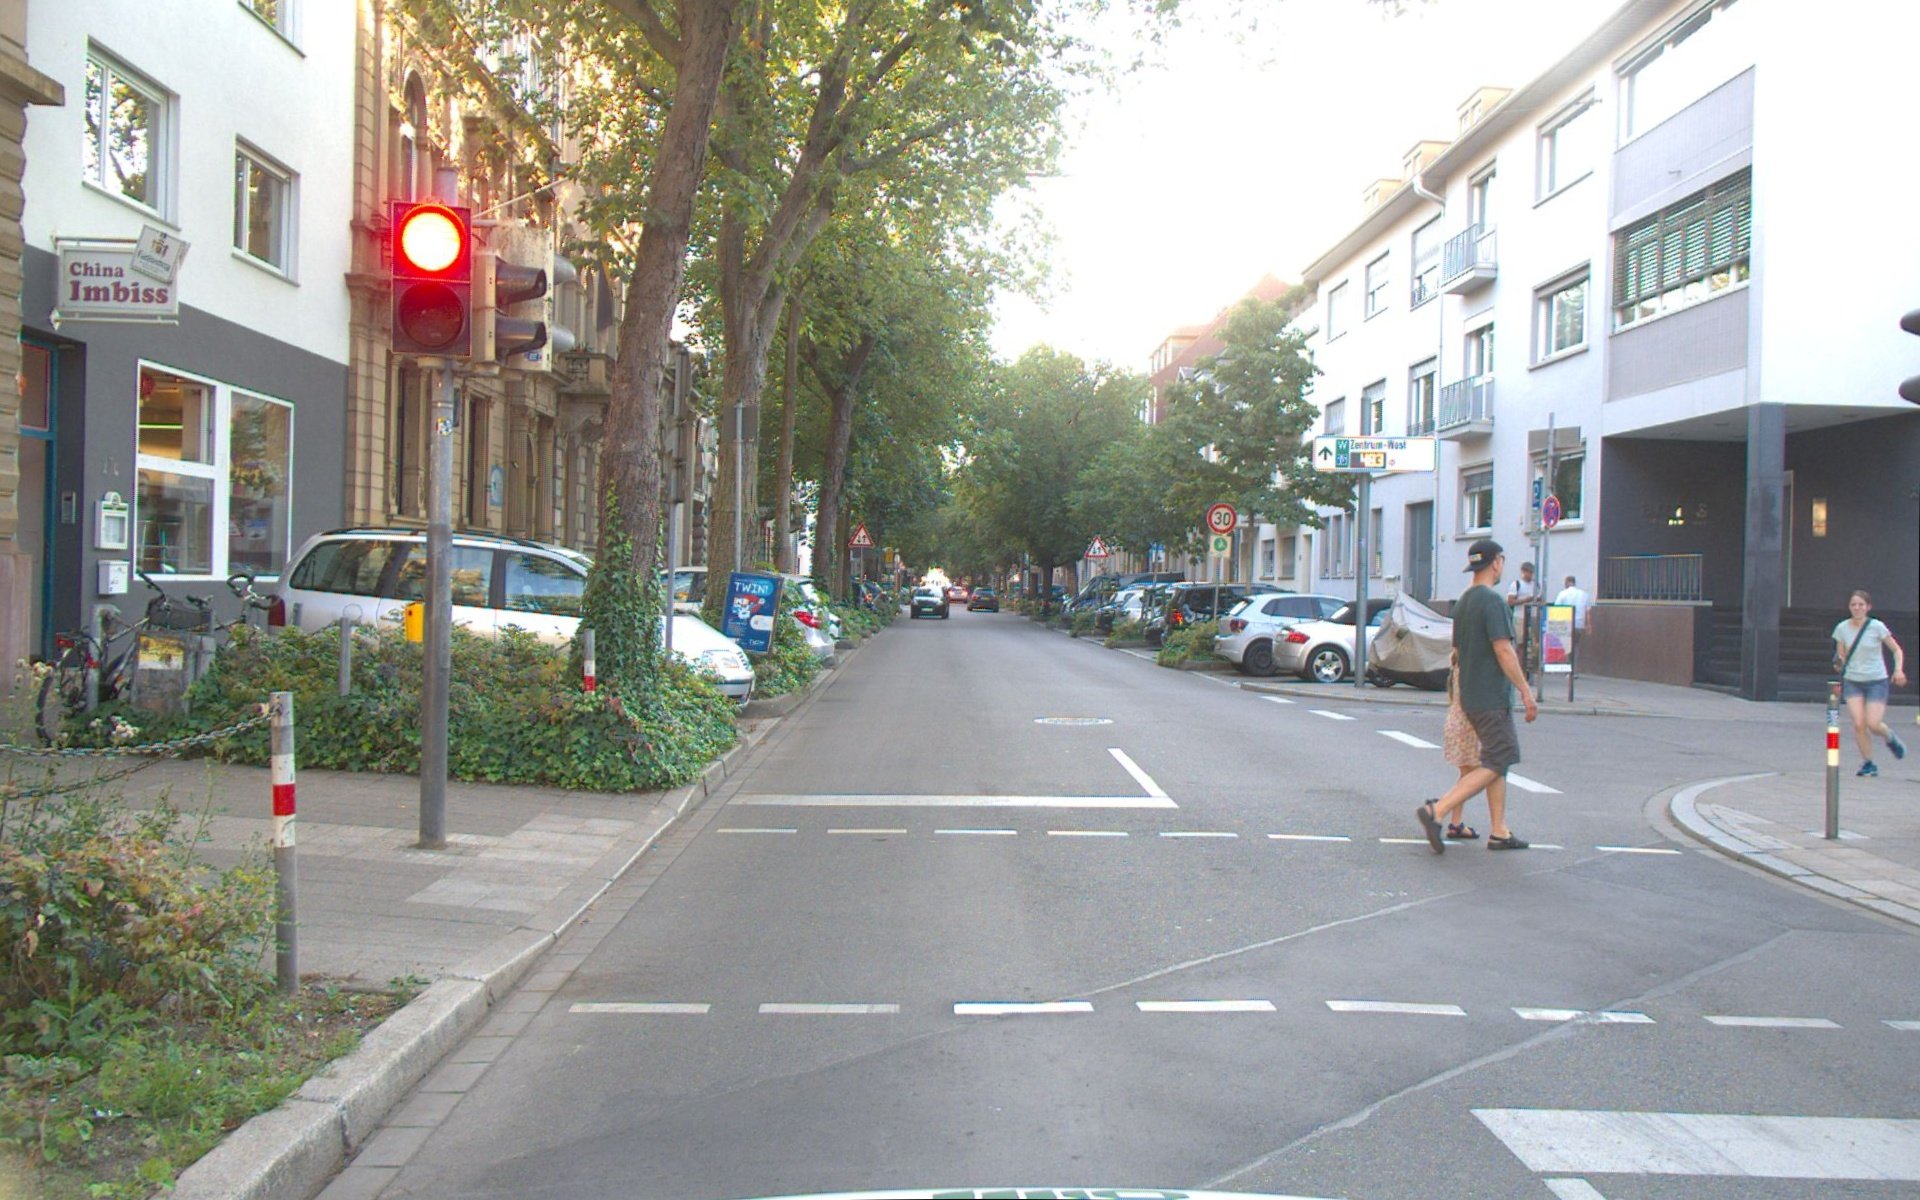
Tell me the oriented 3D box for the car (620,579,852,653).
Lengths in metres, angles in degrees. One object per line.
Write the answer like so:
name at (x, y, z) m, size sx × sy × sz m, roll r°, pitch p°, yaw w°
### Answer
car at (-4.497, 0.305, 33.716) m, size 4.455 × 1.396 × 1.833 m, roll 1°, pitch 0°, yaw -1°

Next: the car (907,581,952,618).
car at (-1.407, -0.018, 77.768) m, size 1.864 × 1.605 × 3.992 m, roll 2°, pitch 0°, yaw 2°

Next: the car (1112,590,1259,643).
car at (6.402, 0.462, 47.170) m, size 3.933 × 1.434 × 1.706 m, roll 1°, pitch 0°, yaw -1°

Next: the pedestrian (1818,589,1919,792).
pedestrian at (7.536, 0.715, 13.678) m, size 0.686 × 1.584 × 0.978 m, roll 2°, pitch 1°, yaw 31°

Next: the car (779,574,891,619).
car at (-5.150, -0.144, 68.425) m, size 4.455 × 1.721 × 1.833 m, roll 1°, pitch 0°, yaw -1°

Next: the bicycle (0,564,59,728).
bicycle at (-7.482, 0.345, 11.834) m, size 0.623 × 1.223 × 2.564 m, roll 1°, pitch 0°, yaw 1°

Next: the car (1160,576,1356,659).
car at (6.417, 0.359, 35.917) m, size 3.933 × 1.720 × 1.706 m, roll 1°, pitch 0°, yaw -1°

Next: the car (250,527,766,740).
car at (-4.175, 0.303, 15.879) m, size 4.458 × 1.867 × 1.832 m, roll 1°, pitch 0°, yaw -4°

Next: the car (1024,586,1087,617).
car at (6.157, 0.088, 107.299) m, size 3.933 × 1.862 × 1.706 m, roll 1°, pitch 0°, yaw -1°

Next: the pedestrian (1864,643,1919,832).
pedestrian at (6.222, 0.859, 10.418) m, size 0.826 × 1.140 × 0.561 m, roll 1°, pitch 1°, yaw -31°

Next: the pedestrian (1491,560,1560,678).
pedestrian at (9.222, 0.302, 27.024) m, size 0.751 × 1.873 × 0.943 m, roll 2°, pitch 1°, yaw 0°

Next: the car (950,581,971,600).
car at (0.045, -0.890, 151.415) m, size 1.885 × 1.689 × 3.999 m, roll 1°, pitch 0°, yaw -1°

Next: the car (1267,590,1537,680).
car at (7.112, 0.545, 26.863) m, size 3.932 × 1.366 × 1.707 m, roll 1°, pitch 0°, yaw -1°

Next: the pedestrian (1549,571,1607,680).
pedestrian at (10.365, 0.415, 27.766) m, size 0.689 × 1.782 × 0.700 m, roll 2°, pitch 1°, yaw 3°

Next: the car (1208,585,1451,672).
car at (6.527, 0.481, 29.460) m, size 3.933 × 1.467 × 1.706 m, roll 1°, pitch 0°, yaw -1°

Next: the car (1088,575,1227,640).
car at (5.865, 0.210, 49.463) m, size 3.933 × 1.847 × 1.706 m, roll 1°, pitch 0°, yaw -1°

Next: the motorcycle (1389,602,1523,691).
motorcycle at (7.082, 0.658, 23.686) m, size 1.761 × 1.220 × 0.613 m, roll 1°, pitch 0°, yaw 8°

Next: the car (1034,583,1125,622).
car at (5.376, 0.105, 74.587) m, size 3.933 × 1.629 × 1.706 m, roll 1°, pitch 0°, yaw -1°

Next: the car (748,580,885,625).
car at (-4.840, 0.078, 56.225) m, size 4.455 × 1.434 × 1.833 m, roll 1°, pitch 0°, yaw -1°

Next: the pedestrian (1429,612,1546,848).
pedestrian at (3.168, 0.766, 9.963) m, size 0.528 × 1.359 × 0.507 m, roll 2°, pitch 1°, yaw 4°

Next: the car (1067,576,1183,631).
car at (5.921, 0.121, 59.604) m, size 3.933 × 1.862 × 1.706 m, roll 1°, pitch 0°, yaw -1°

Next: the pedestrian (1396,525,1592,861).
pedestrian at (3.081, 0.512, 9.623) m, size 0.869 × 1.847 × 0.794 m, roll 1°, pitch 1°, yaw 3°

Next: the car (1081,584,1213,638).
car at (5.871, 0.333, 52.321) m, size 3.933 × 1.556 × 1.706 m, roll 1°, pitch 0°, yaw -1°

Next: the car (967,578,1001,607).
car at (1.386, -0.436, 97.937) m, size 1.788 × 1.588 × 4.026 m, roll 2°, pitch 0°, yaw -2°

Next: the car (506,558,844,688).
car at (-3.944, 0.305, 23.436) m, size 4.455 × 1.718 × 1.833 m, roll 1°, pitch 0°, yaw -1°

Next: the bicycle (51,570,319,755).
bicycle at (-5.692, 0.405, 12.378) m, size 0.719 × 1.207 × 2.634 m, roll 3°, pitch 0°, yaw 0°
